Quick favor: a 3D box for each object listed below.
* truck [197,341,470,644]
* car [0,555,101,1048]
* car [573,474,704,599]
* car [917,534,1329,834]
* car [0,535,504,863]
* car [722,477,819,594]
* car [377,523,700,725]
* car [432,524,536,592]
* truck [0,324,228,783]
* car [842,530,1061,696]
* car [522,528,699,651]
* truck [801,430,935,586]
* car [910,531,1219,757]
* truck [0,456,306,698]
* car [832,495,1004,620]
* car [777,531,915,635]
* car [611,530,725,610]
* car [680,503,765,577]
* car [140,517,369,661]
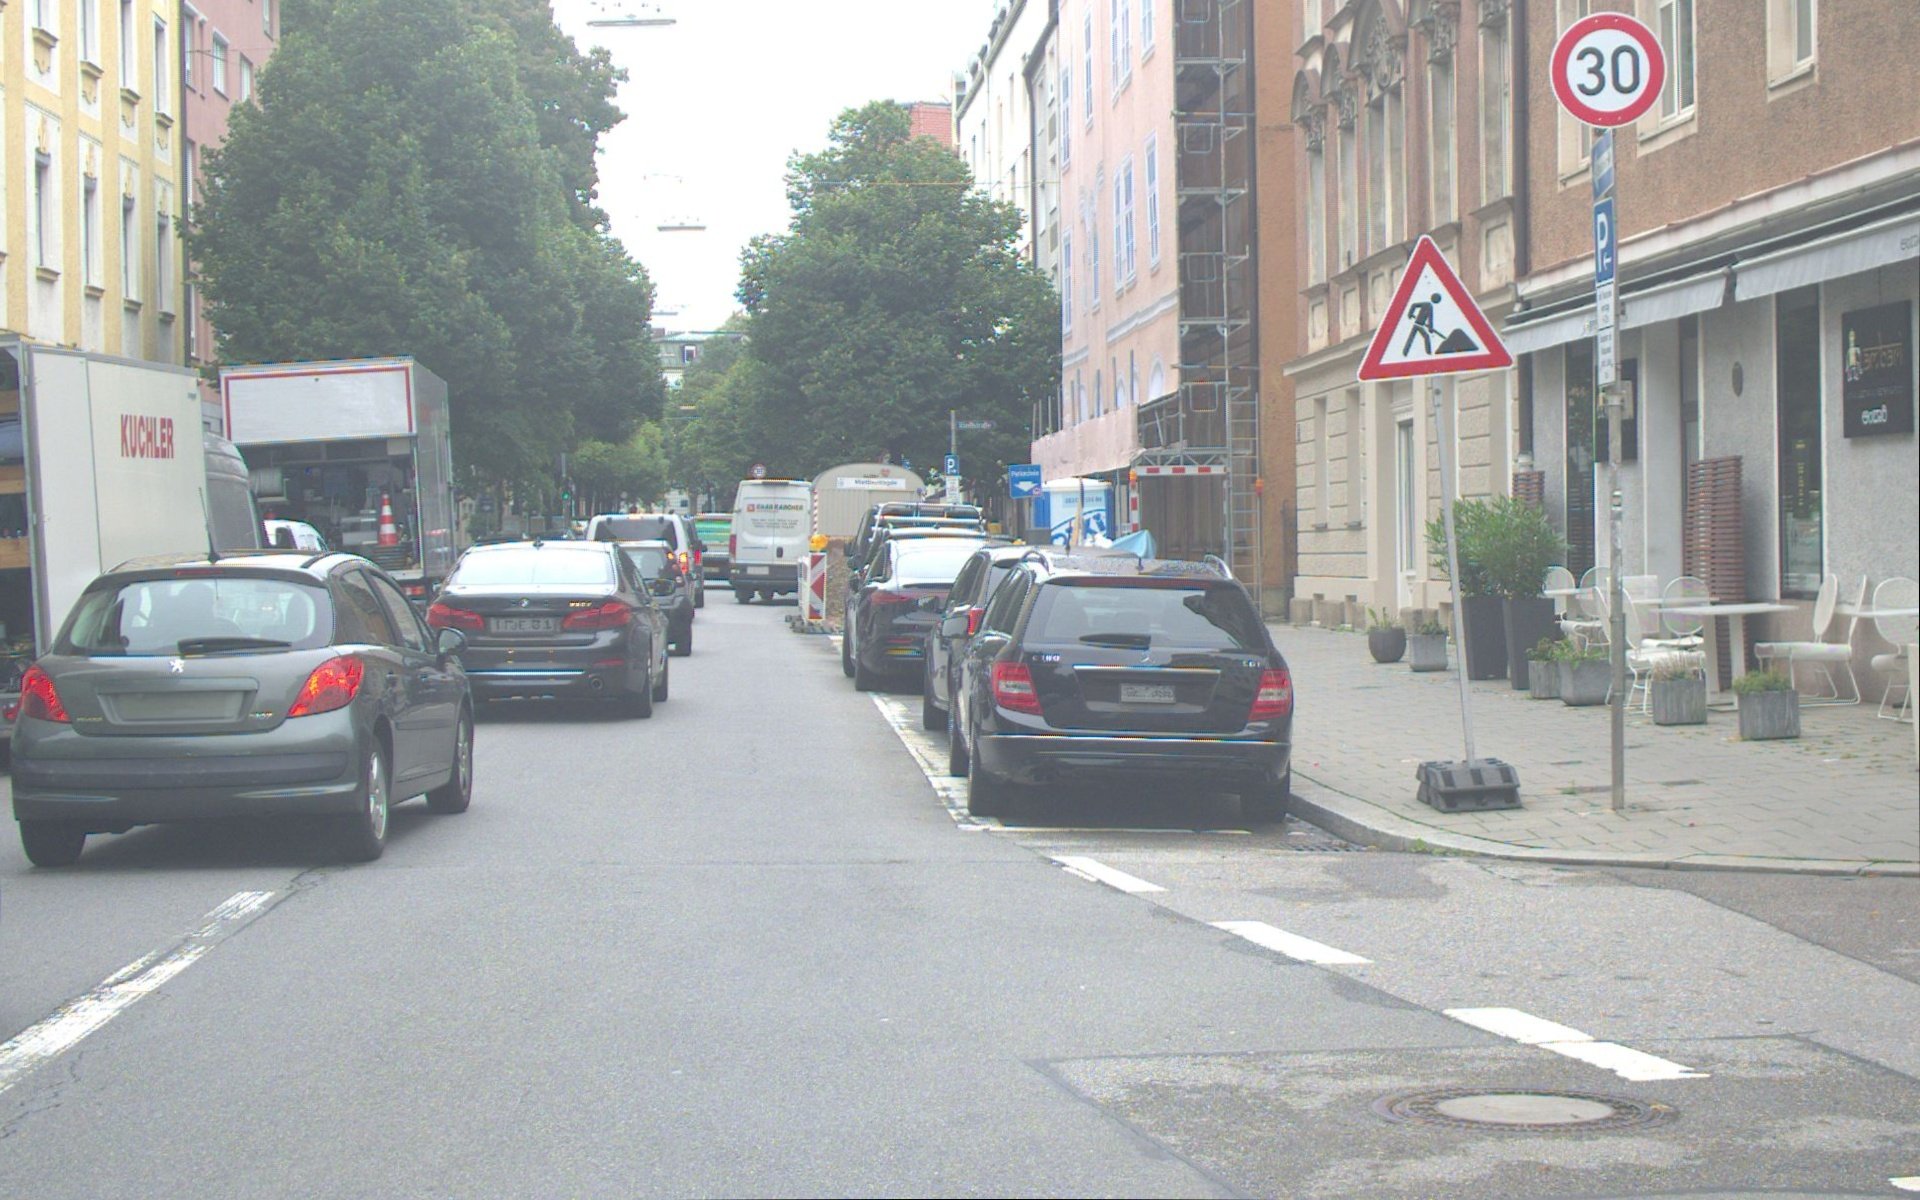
[{"bbox_3d":[-8.654,-1.470,48.270,3.012,3.938,6.997,0,1,-4],"label":"truck"},{"bbox_3d":[-3.958,0.615,8.709,1.987,1.449,4.733,-1,0,5],"label":"car"},{"bbox_3d":[-5.532,-1.128,59.584,1.990,2.068,4.141,-1,2,-2],"label":"car"},{"bbox_3d":[0.818,0.398,19.837,1.844,1.424,4.184,2,2,-4],"label":"car"},{"bbox_3d":[-3.525,0.412,17.545,1.759,1.456,4.074,-1,1,1],"label":"car"},{"bbox_3d":[-4.105,-1.410,75.214,1.939,2.472,4.783,0,1,-1],"label":"car"},{"bbox_3d":[-3.425,0.128,28.864,1.990,1.424,4.906,2,2,1],"label":"car"},{"bbox_3d":[-10.345,-0.926,74.932,1.939,1.443,3.867,0,1,-3],"label":"car"},{"bbox_3d":[-7.336,-0.393,24.989,2.773,2.863,7.203,-1,2,-3],"label":"truck"},{"bbox_3d":[-0.148,0.079,34.291,1.844,1.424,4.307,2,2,-4],"label":"car"},{"bbox_3d":[-4.427,-0.169,44.093,1.990,1.424,4.141,-1,2,-2],"label":"car"},{"bbox_3d":[-1.877,-1.809,68.122,2.491,2.963,5.328,0,1,-3],"label":"truck"},{"bbox_3d":[0.686,0.262,25.621,1.844,1.424,4.141,2,2,-4],"label":"car"},{"bbox_3d":[-7.781,-0.251,33.156,2.286,2.164,4.807,0,1,-3],"label":"truck"},{"bbox_3d":[-0.567,-0.560,42.175,1.990,1.424,4.141,-1,2,-2],"label":"car"},{"bbox_3d":[-1.737,-0.294,52.014,1.990,1.424,4.141,-1,2,-2],"label":"car"},{"bbox_3d":[-5.621,-0.602,66.502,1.990,1.424,4.141,-1,2,-2],"label":"car"},{"bbox_3d":[-6.250,-1.582,90.857,1.993,1.897,4.000,0,1,-1],"label":"car"},{"bbox_3d":[-8.244,-0.163,40.525,1.990,1.605,4.141,0,1,-2],"label":"car"}]
